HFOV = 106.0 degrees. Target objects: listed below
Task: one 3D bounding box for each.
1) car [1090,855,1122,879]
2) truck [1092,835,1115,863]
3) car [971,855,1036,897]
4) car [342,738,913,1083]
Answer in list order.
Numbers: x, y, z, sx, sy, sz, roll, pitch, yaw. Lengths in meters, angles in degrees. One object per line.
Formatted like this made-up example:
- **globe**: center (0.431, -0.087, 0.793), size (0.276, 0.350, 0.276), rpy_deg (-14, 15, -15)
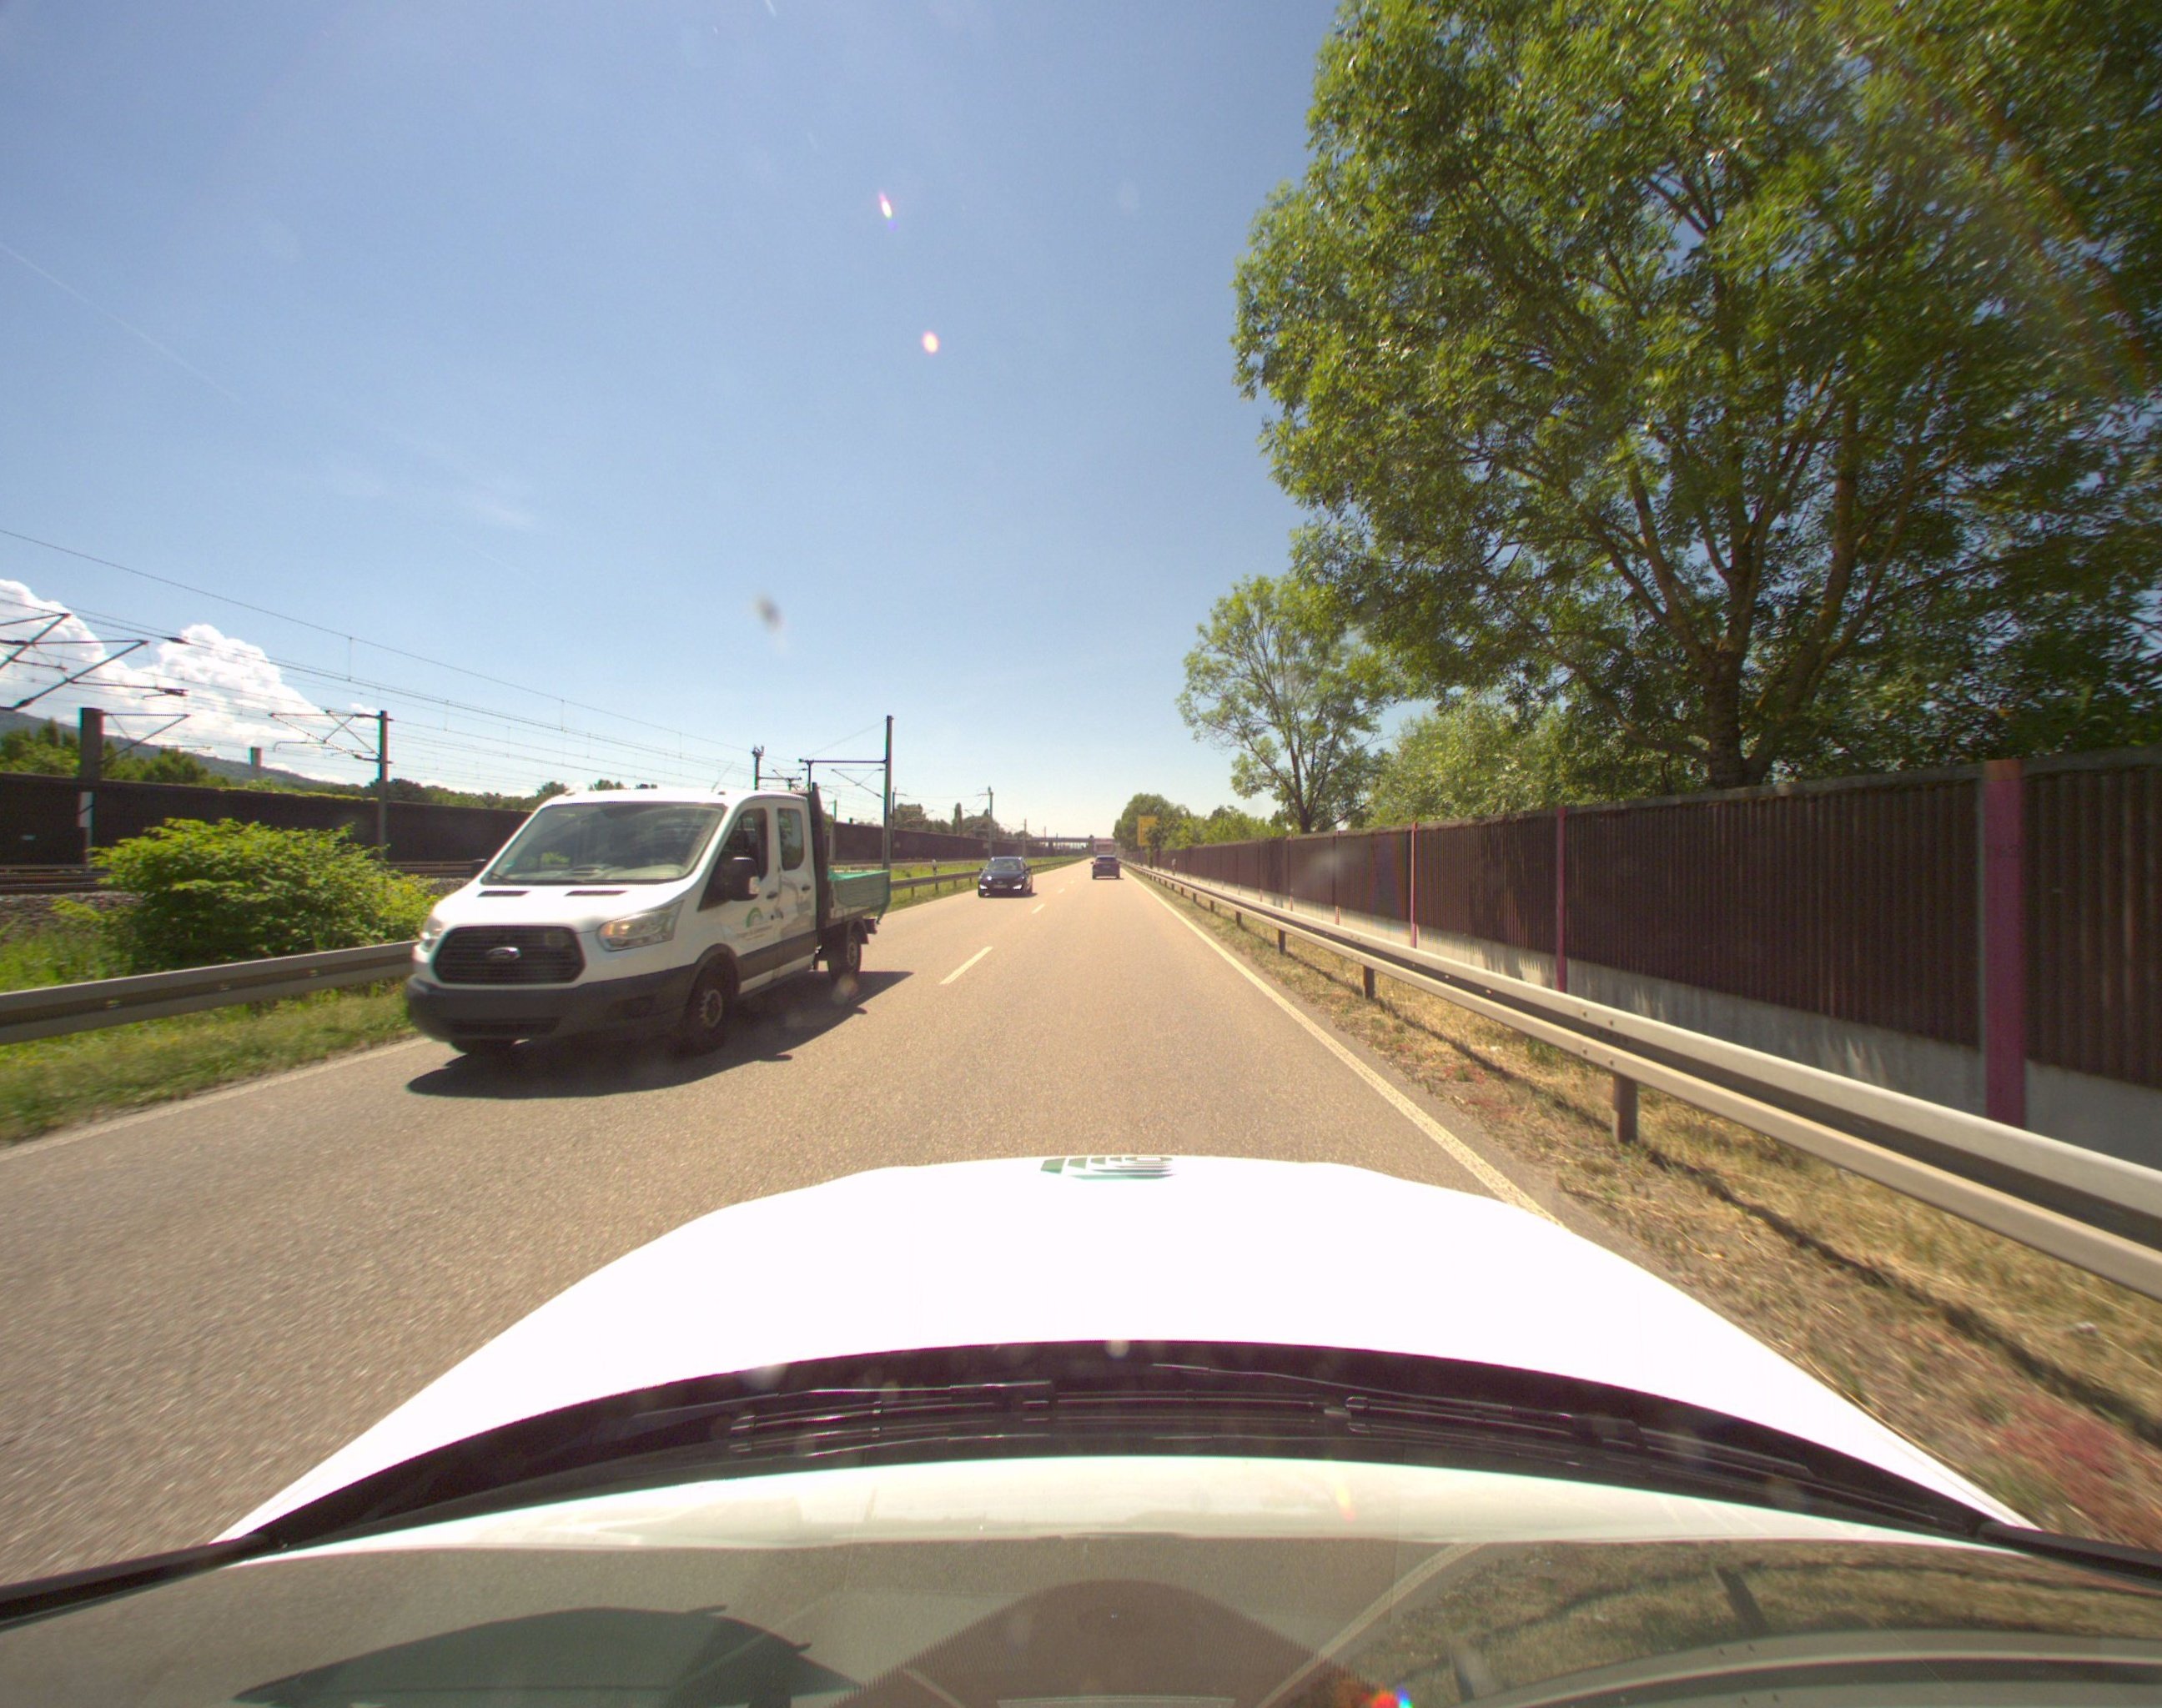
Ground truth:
- **car**: center (1.598, 0.817, 53.768), size (1.987, 1.508, 3.999), rpy_deg (-1, 0, 0)
- **truck**: center (3.009, -0.620, 106.323), size (2.760, 3.425, 10.824), rpy_deg (-1, 0, 2)
- **car**: center (-2.885, 0.788, 31.261), size (1.967, 1.508, 4.164), rpy_deg (-1, 0, 2)
- **car**: center (-3.693, 0.387, 8.567), size (2.252, 2.287, 6.240), rpy_deg (0, 0, 3)
